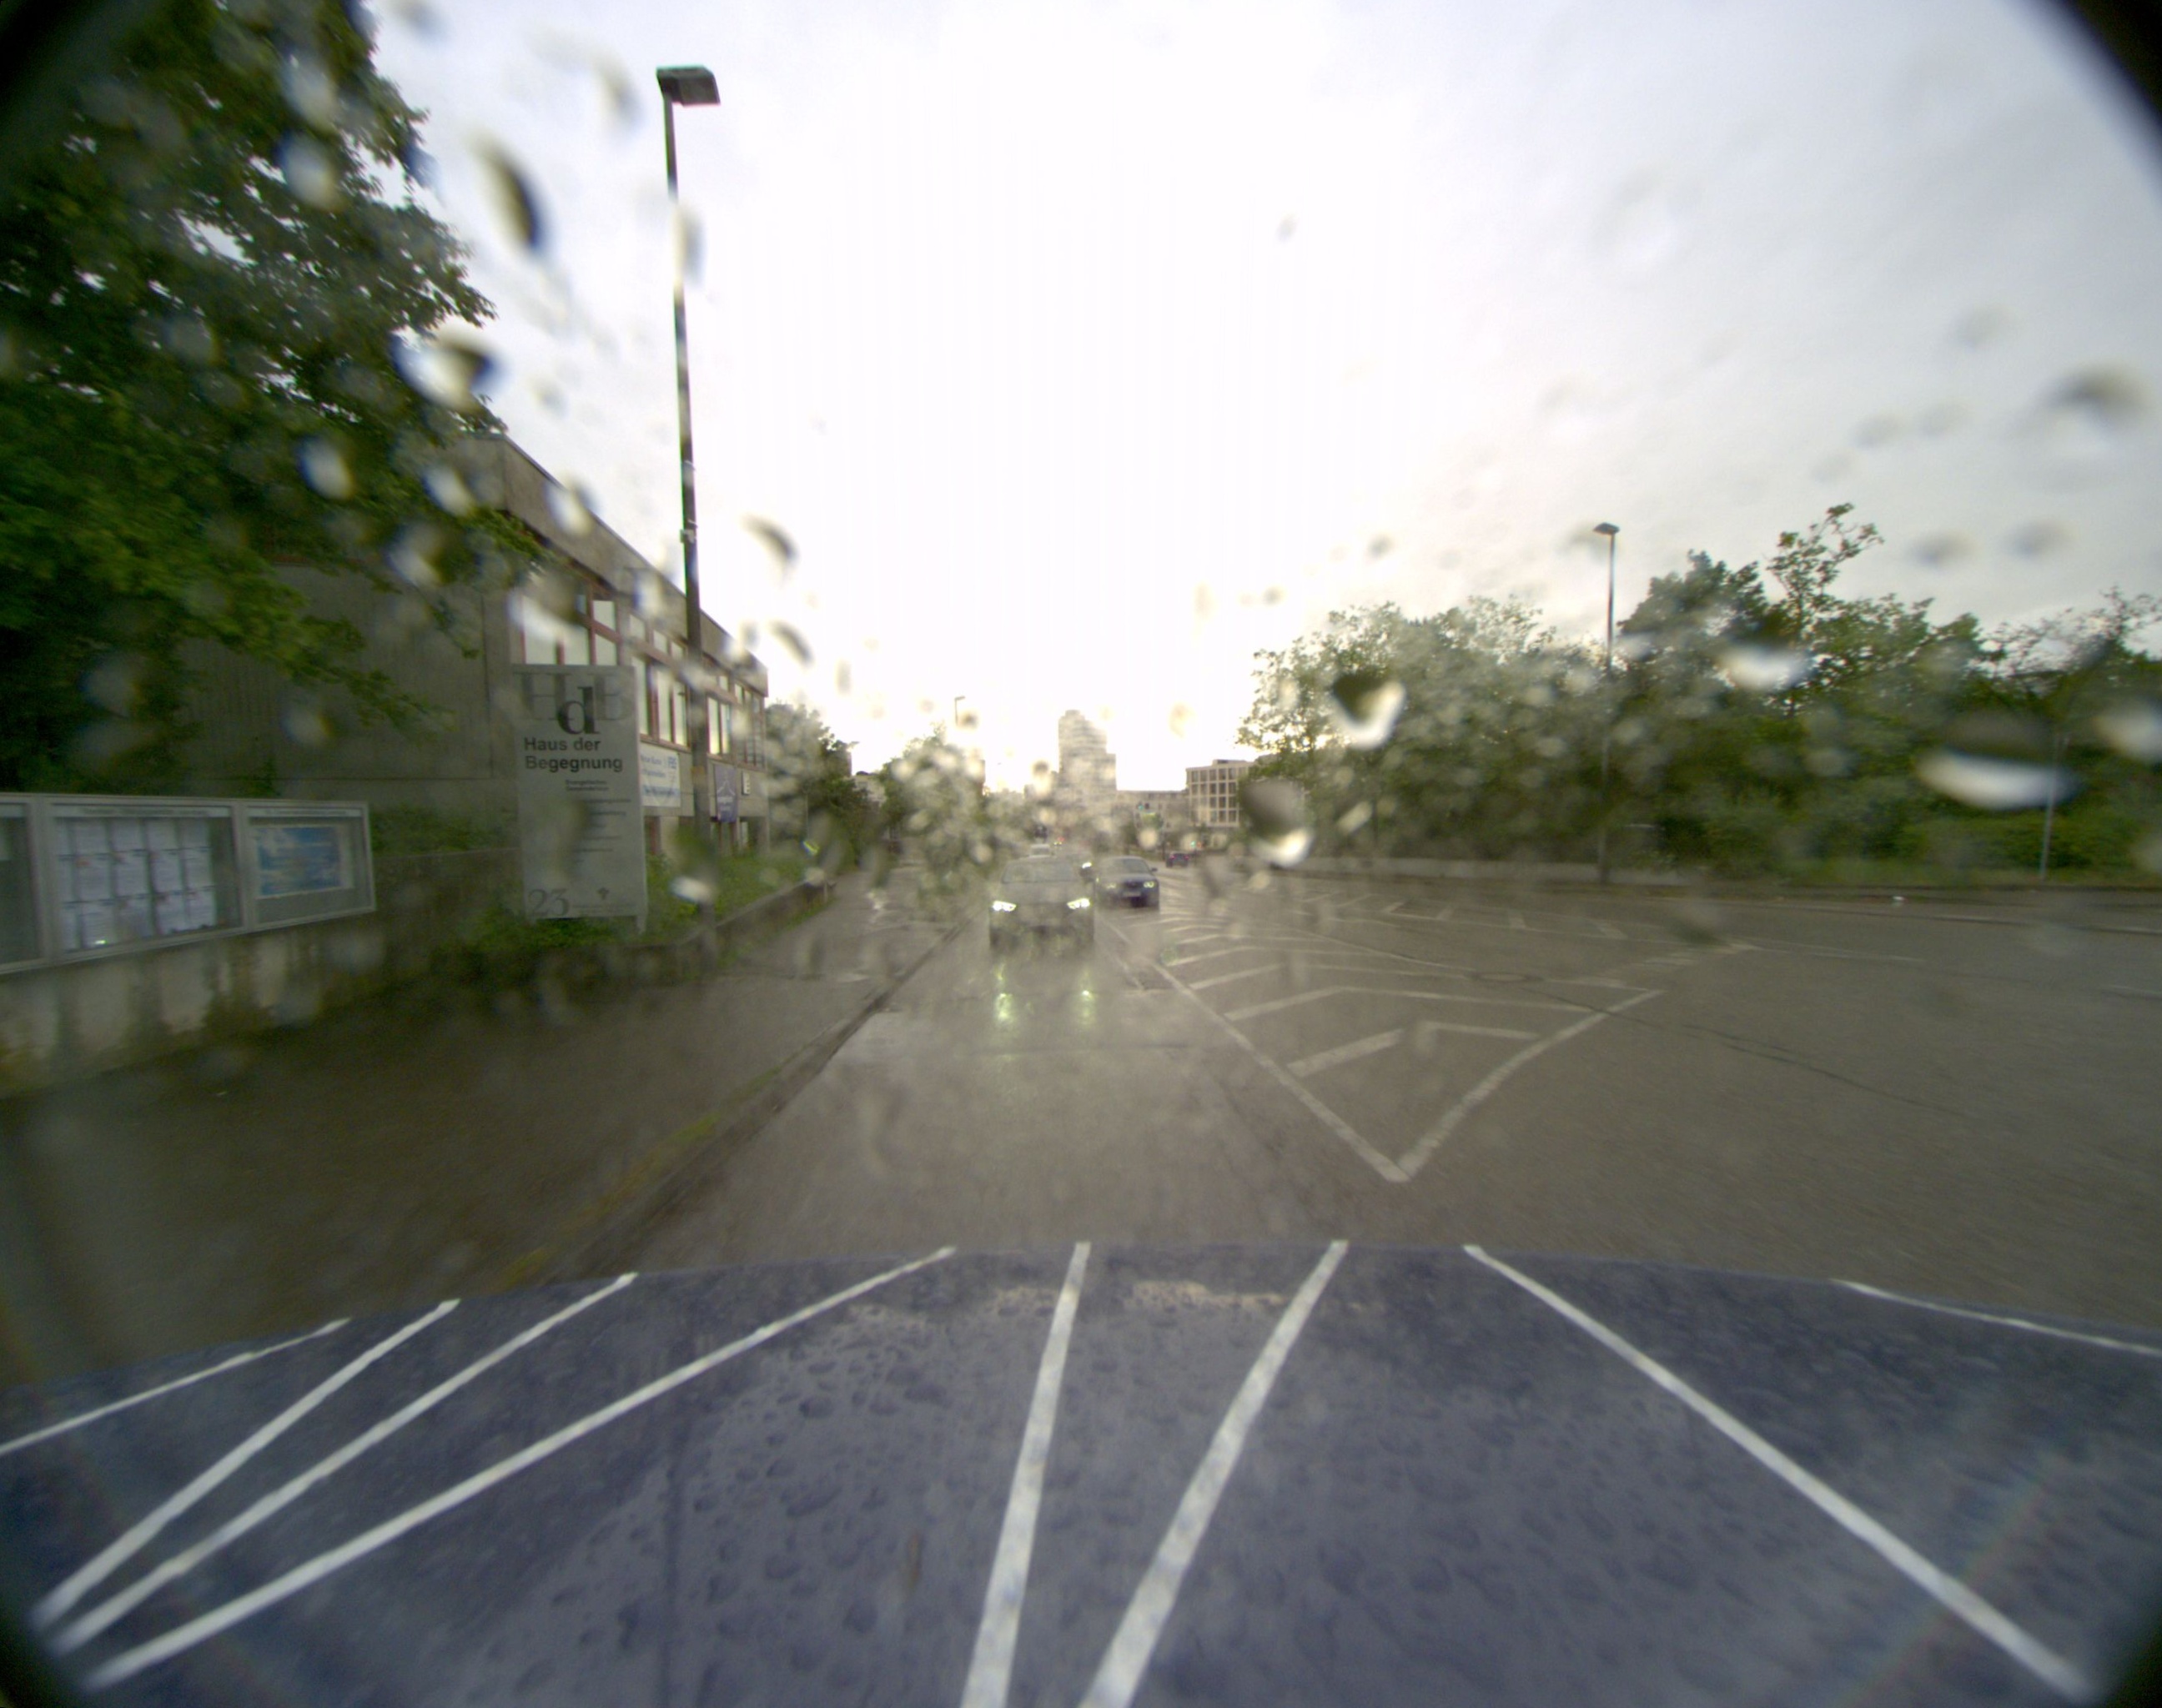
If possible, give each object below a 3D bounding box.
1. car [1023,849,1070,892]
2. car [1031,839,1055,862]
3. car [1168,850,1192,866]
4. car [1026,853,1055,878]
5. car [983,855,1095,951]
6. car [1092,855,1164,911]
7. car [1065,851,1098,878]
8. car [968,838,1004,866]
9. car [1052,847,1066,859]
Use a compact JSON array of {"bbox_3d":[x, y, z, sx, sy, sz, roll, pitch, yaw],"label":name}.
[{"bbox_3d":[-1.732,0.730,36.488,1.901,1.650,4.940,-5,2,-5],"label":"car"},{"bbox_3d":[-3.511,-0.273,69.113,2.031,1.925,4.943,-2,0,-3],"label":"car"},{"bbox_3d":[9.959,0.405,76.810,1.818,1.506,3.999,-1,1,0],"label":"car"},{"bbox_3d":[-2.944,0.812,55.965,1.901,1.713,4.463,-2,0,-1],"label":"car"},{"bbox_3d":[-0.763,0.844,15.336,1.838,1.505,4.847,-3,0,-1],"label":"car"},{"bbox_3d":[1.299,0.783,22.975,1.790,1.339,4.942,-2,2,-1],"label":"car"},{"bbox_3d":[0.015,0.600,46.209,1.900,1.487,4.944,-1,0,0],"label":"car"},{"bbox_3d":[-6.726,-0.181,53.974,2.048,1.809,3.967,-2,1,-1],"label":"car"},{"bbox_3d":[-3.599,-0.119,123.327,2.031,1.925,4.943,-2,0,-3],"label":"car"}]
